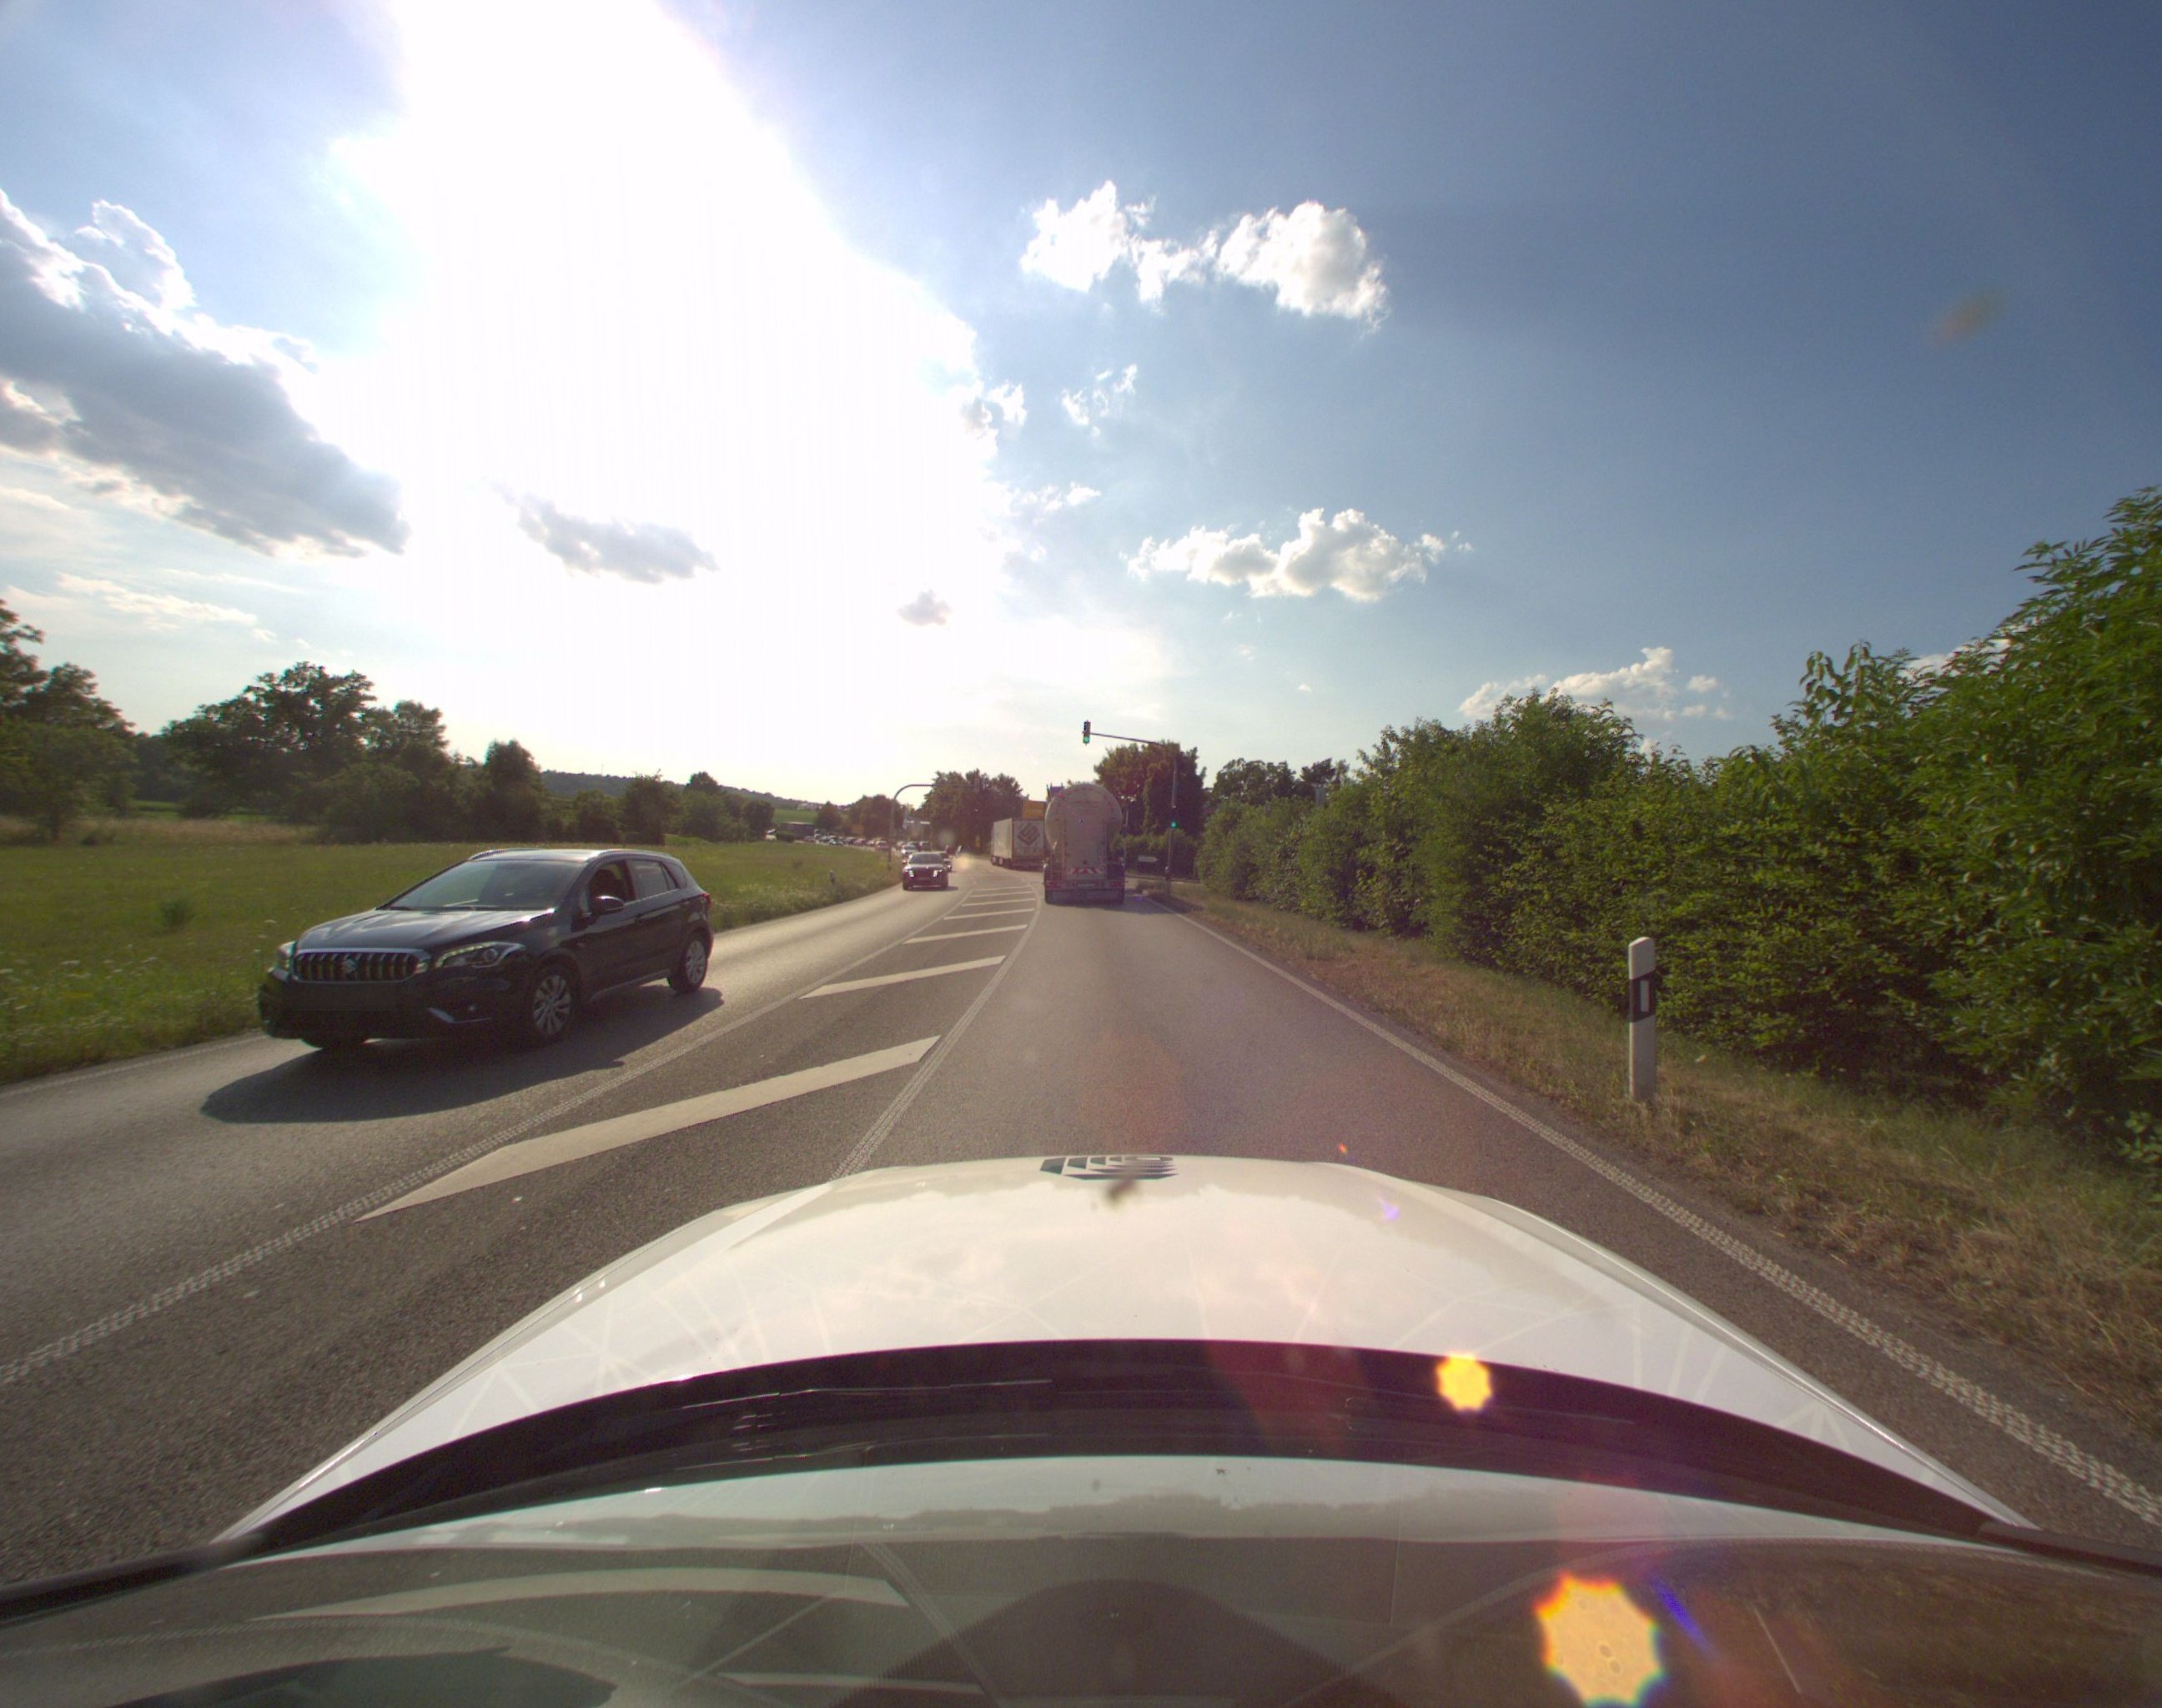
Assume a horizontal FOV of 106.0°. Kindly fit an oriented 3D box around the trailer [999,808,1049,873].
[{"bbox_3d":[-4.818,-0.935,66.905,2.964,4.882,10.251,1,-1,-10],"label":"trailer"}]

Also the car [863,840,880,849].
[{"bbox_3d":[-41.410,-1.877,160.877,2.100,1.599,3.958,1,0,-34],"label":"car"}]

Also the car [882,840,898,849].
[{"bbox_3d":[-36.364,-1.849,154.780,1.894,1.599,3.961,1,0,-31],"label":"car"}]

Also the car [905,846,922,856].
[{"bbox_3d":[-27.583,-0.568,133.893,1.890,1.599,3.969,1,0,-23],"label":"car"}]

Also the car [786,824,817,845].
[{"bbox_3d":[-68.245,-4.684,198.730,3.567,5.059,13.100,1,0,-35],"label":"car"}]

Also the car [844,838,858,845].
[{"bbox_3d":[-48.730,-2.634,172.315,1.893,1.599,3.962,1,0,-30],"label":"car"}]

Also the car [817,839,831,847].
[{"bbox_3d":[-58.149,-2.519,184.078,1.895,1.599,3.958,1,0,-34],"label":"car"}]

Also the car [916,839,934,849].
[{"bbox_3d":[-27.430,-1.674,143.195,1.852,1.656,3.963,2,-1,-28],"label":"car"}]

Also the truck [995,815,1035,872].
[{"bbox_3d":[-6.070,-0.834,74.015,2.963,4.887,6.407,1,-1,-10],"label":"truck"}]

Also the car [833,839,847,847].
[{"bbox_3d":[-53.181,-2.479,179.421,1.895,1.599,3.958,1,0,-34],"label":"car"}]

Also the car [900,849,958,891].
[{"bbox_3d":[-6.804,0.671,36.952,1.989,1.725,4.421,1,1,-3],"label":"car"}]

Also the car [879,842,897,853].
[{"bbox_3d":[-29.222,-1.056,123.302,1.890,1.599,3.968,1,0,-24],"label":"car"}]

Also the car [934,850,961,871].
[{"bbox_3d":[-9.715,0.449,59.646,1.718,1.436,3.741,-1,0,-6],"label":"car"}]

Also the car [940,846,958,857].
[{"bbox_3d":[-19.337,-0.345,119.264,1.690,1.468,3.971,1,-1,-21],"label":"car"}]

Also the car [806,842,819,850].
[{"bbox_3d":[-57.437,-1.773,174.172,1.893,1.599,3.962,1,0,-30],"label":"car"}]

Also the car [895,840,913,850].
[{"bbox_3d":[-30.858,-1.591,141.970,2.096,1.599,3.965,1,0,-27],"label":"car"}]

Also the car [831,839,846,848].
[{"bbox_3d":[-47.151,-2.030,158.013,1.893,1.599,3.962,1,0,-30],"label":"car"}]

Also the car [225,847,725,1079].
[{"bbox_3d":[-5.074,0.730,7.691,1.690,1.552,4.149,-1,0,-2],"label":"car"}]

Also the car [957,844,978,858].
[{"bbox_3d":[-14.488,-0.345,103.827,1.998,1.656,3.978,1,-1,-16],"label":"car"}]

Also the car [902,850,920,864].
[{"bbox_3d":[-20.192,0.370,96.880,1.885,1.599,3.980,1,0,-15],"label":"car"}]

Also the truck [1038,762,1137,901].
[{"bbox_3d":[0.003,-0.580,30.583,2.968,4.176,11.651,1,-1,-2],"label":"truck"}]

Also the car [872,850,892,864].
[{"bbox_3d":[-24.606,0.341,100.761,1.889,1.599,3.971,1,0,-22],"label":"car"}]

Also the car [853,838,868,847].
[{"bbox_3d":[-45.249,-2.355,166.976,1.894,1.599,3.960,1,0,-32],"label":"car"}]
